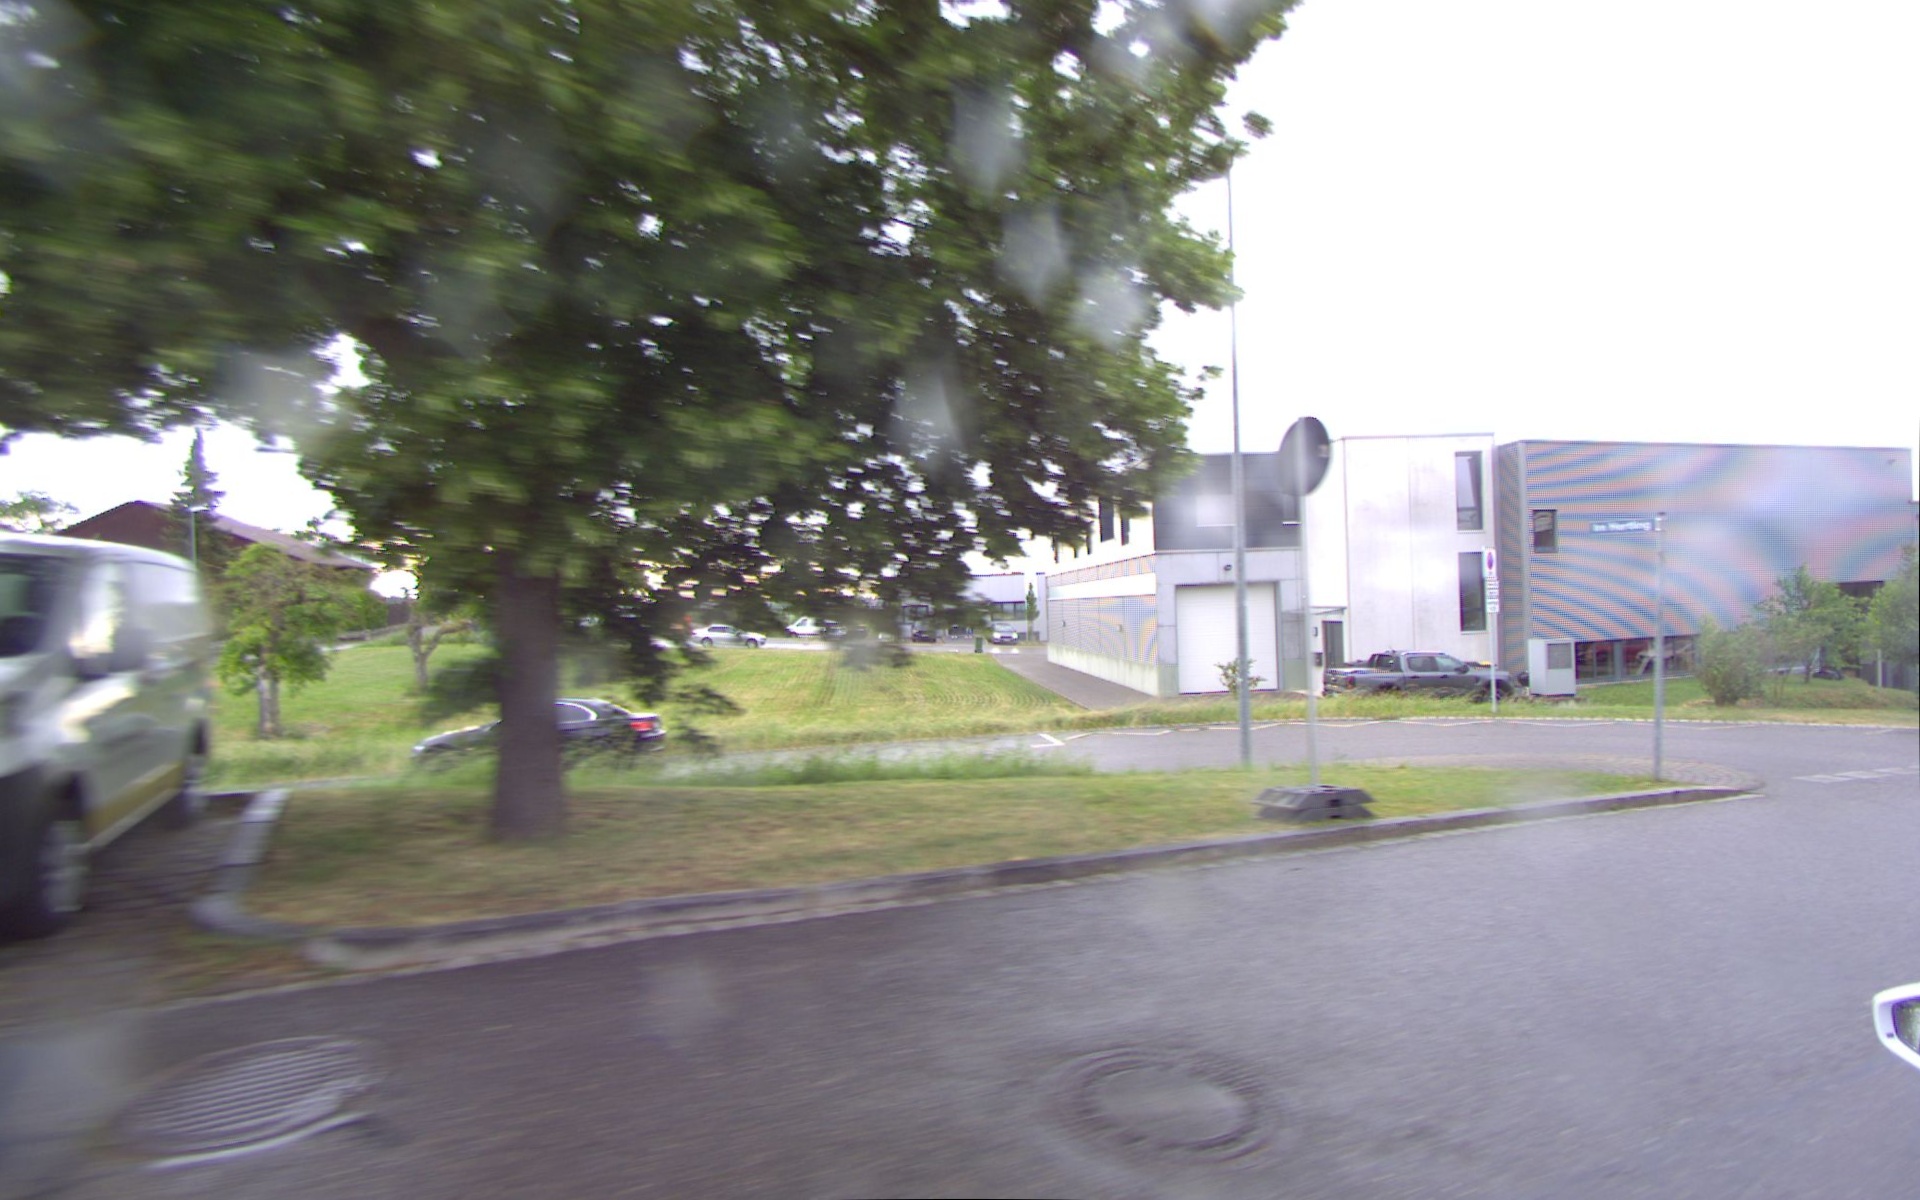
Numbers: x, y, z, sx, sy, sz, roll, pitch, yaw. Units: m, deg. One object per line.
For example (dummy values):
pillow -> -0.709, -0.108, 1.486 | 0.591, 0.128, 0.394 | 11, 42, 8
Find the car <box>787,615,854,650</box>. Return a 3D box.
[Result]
car -> -14.120, 3.333, 102.008 | 6.601, 3.469, 2.544 | 0, -3, -4

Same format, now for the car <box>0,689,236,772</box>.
car -> -16.522, 2.491, 19.507 | 3.636, 1.465, 1.562 | 1, -2, -6

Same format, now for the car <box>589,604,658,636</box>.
car -> -28.765, 1.729, 86.016 | 5.333, 2.603, 1.997 | 2, -3, -10

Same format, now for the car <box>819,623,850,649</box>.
car -> -9.620, 2.737, 76.771 | 2.238, 1.879, 4.713 | 0, -1, -8

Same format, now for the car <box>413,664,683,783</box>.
car -> -7.622, 2.260, 19.026 | 4.305, 1.776, 1.997 | -3, -2, -10

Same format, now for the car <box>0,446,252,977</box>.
car -> -5.198, 0.453, 5.133 | 1.837, 1.930, 4.287 | 2, -3, -26

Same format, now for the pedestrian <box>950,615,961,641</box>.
pedestrian -> -0.372, 2.203, 79.075 | 0.834, 2.040, 0.647 | 1, -2, 0

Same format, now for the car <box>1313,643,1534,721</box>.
car -> 13.411, 2.341, 29.263 | 5.504, 1.947, 2.134 | -2, -1, -6

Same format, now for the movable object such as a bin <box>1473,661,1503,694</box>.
movable object such as a bin -> 17.902, 2.623, 34.069 | 0.661, 1.110, 0.637 | -1, -3, -3

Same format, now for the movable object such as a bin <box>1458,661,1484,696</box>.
movable object such as a bin -> 17.291, 2.644, 33.974 | 0.556, 1.181, 0.557 | -1, -3, -3

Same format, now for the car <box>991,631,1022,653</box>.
car -> 3.569, 3.212, 77.521 | 1.961, 1.639, 3.999 | 1, -2, -3

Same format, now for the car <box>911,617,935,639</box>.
car -> -2.900, 2.171, 77.495 | 1.776, 1.639, 3.999 | 1, -2, -3

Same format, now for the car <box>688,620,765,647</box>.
car -> -15.115, 2.175, 65.283 | 4.531, 1.669, 2.290 | 0, -4, -5

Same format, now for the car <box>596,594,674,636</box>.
car -> -28.658, 1.335, 88.715 | 6.180, 3.474, 1.999 | 1, -3, -4

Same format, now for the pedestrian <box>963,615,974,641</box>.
pedestrian -> 0.654, 2.213, 78.955 | 0.847, 2.031, 0.660 | 1, -2, -2
